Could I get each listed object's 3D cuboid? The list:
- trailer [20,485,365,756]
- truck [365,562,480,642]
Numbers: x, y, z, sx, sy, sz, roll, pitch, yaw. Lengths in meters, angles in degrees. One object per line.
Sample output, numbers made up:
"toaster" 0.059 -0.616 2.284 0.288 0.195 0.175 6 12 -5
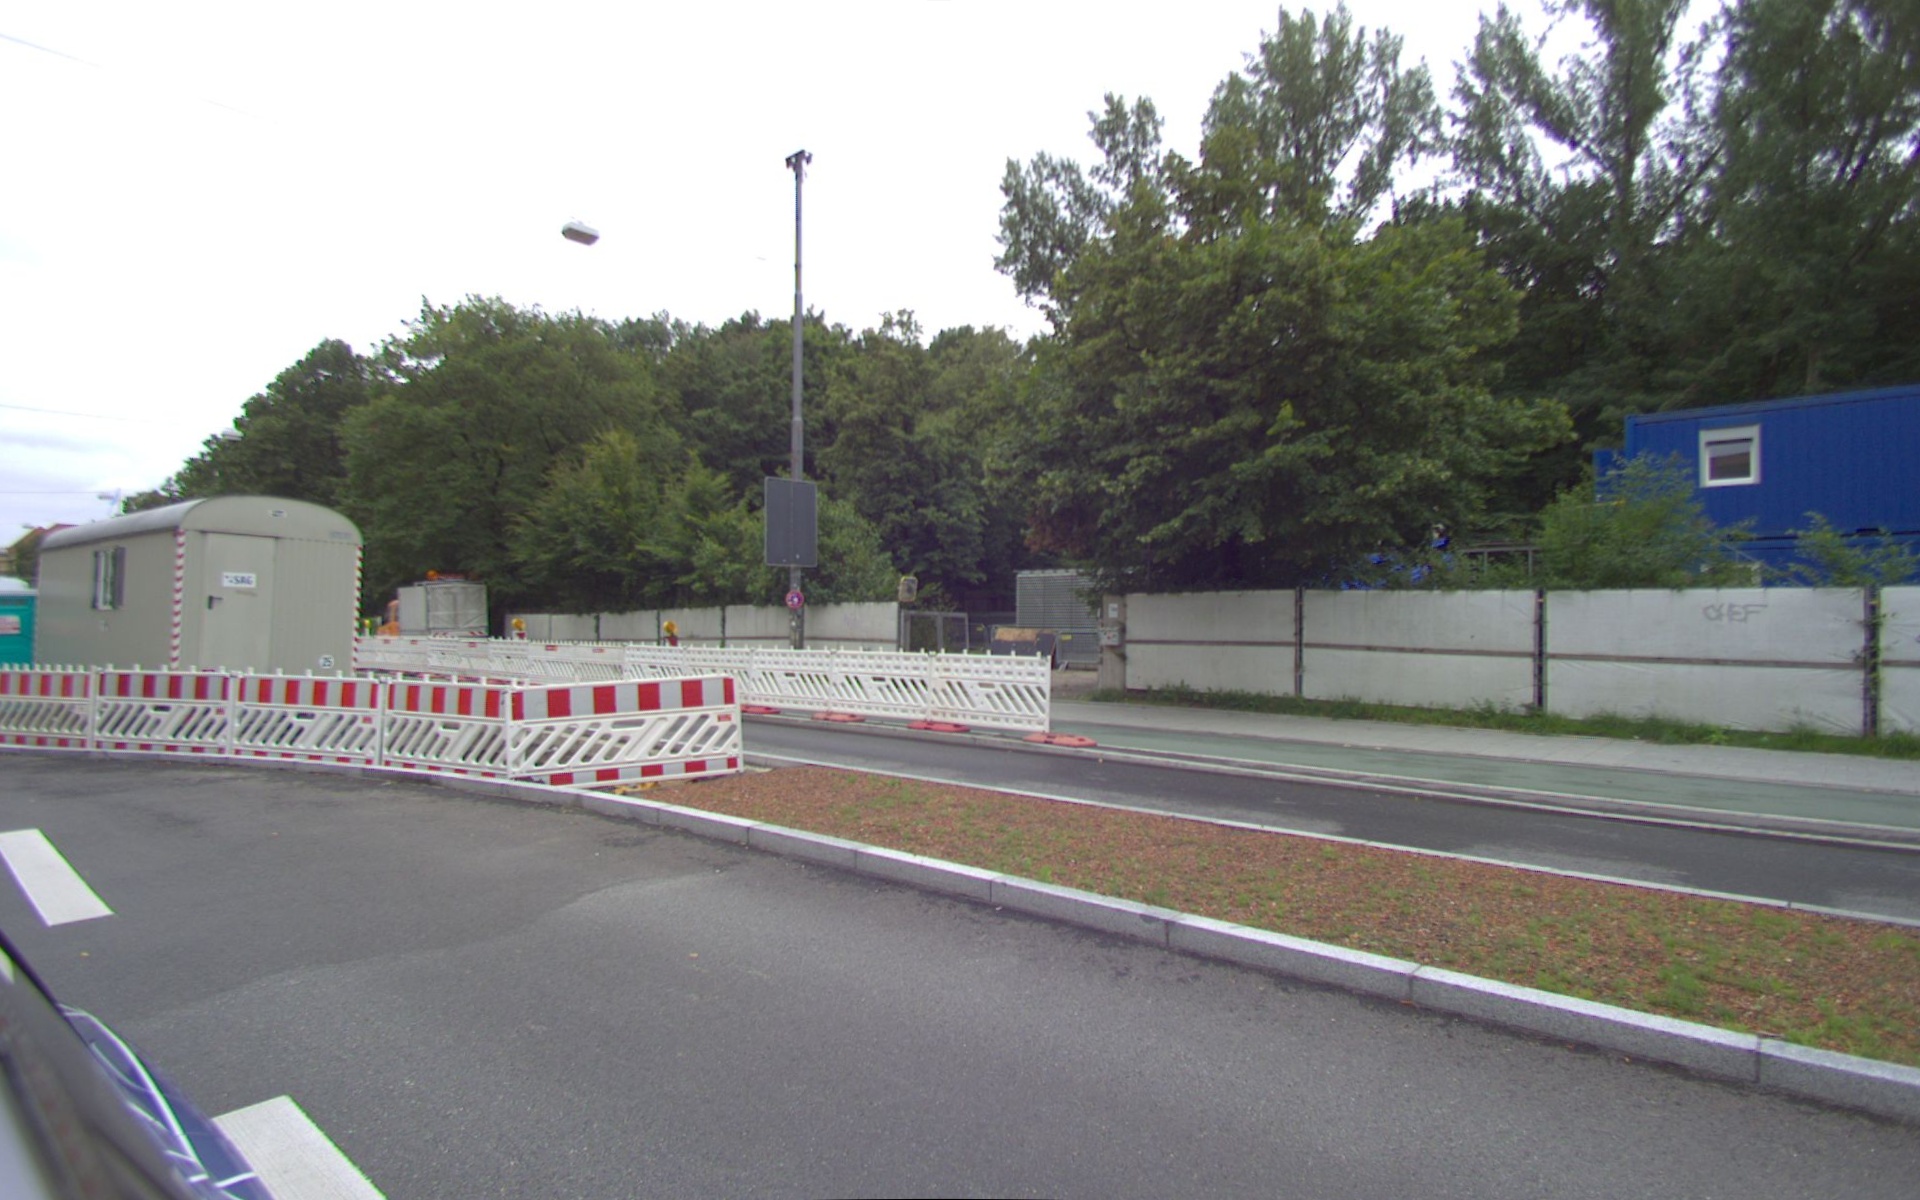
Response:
"trailer" -11.868 0.343 15.348 7.506 3.268 2.206 -2 -2 37
"truck" -20.036 0.164 37.578 5.869 2.749 1.972 -2 -2 43
